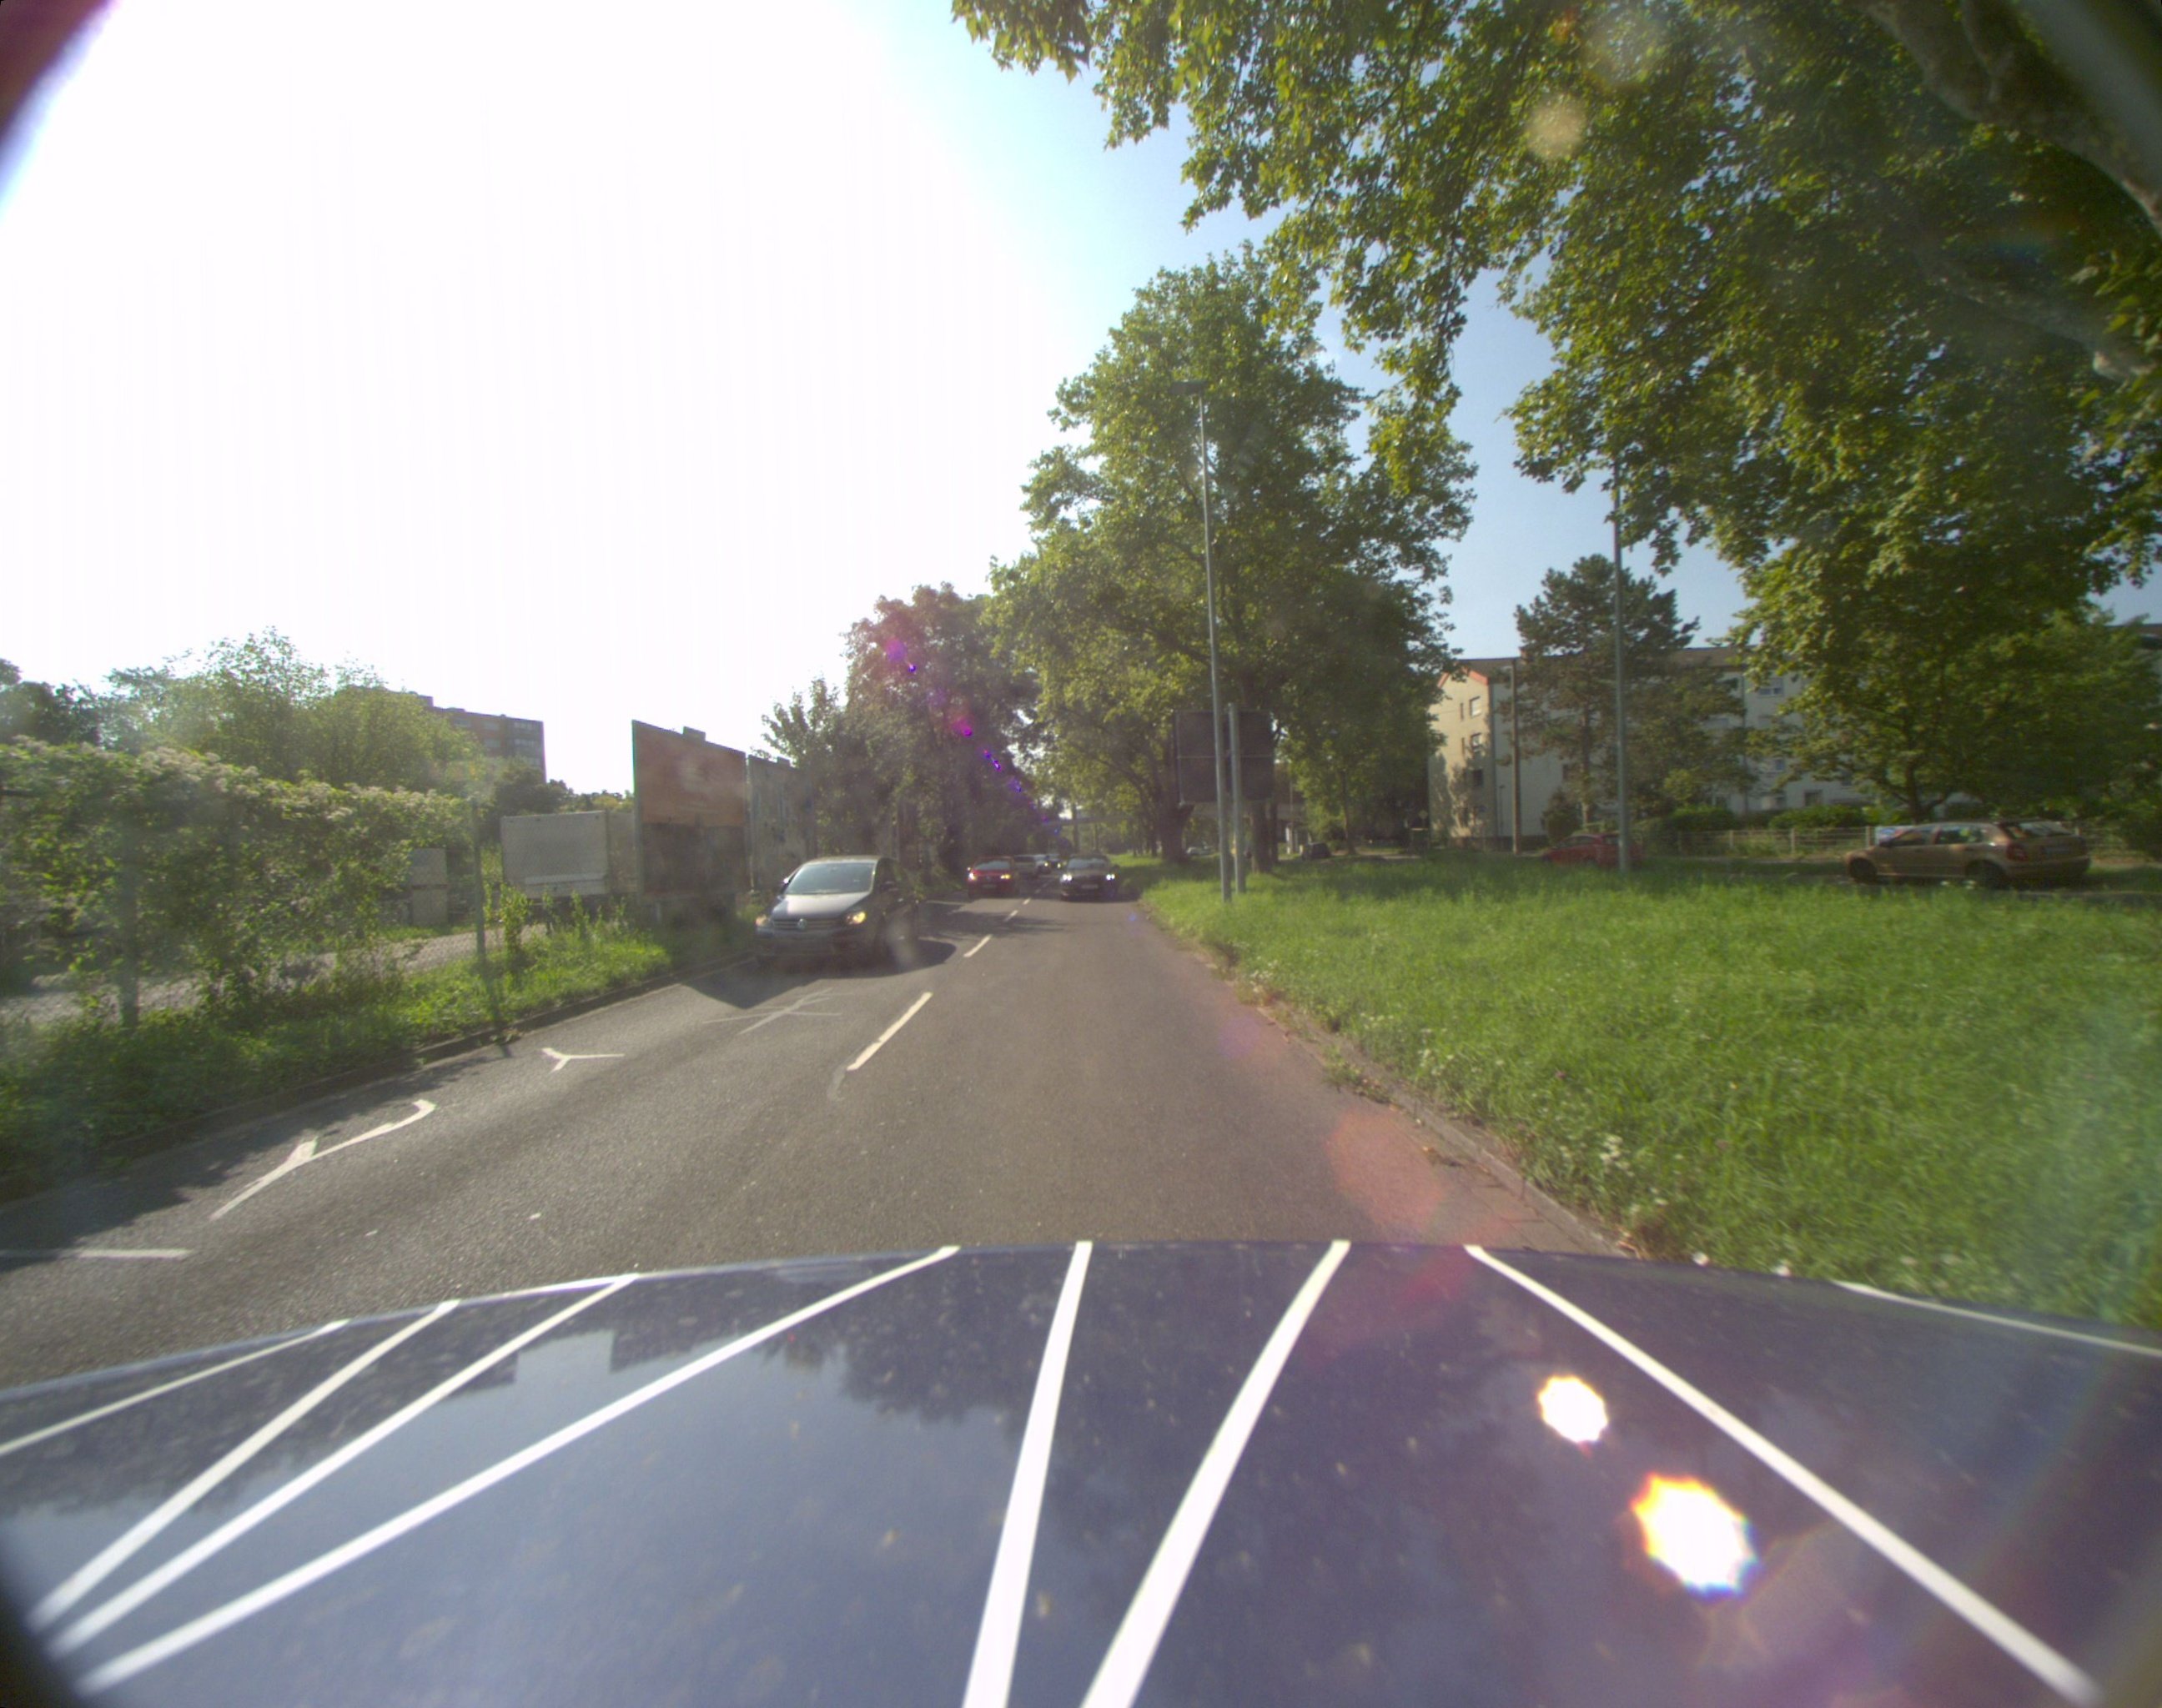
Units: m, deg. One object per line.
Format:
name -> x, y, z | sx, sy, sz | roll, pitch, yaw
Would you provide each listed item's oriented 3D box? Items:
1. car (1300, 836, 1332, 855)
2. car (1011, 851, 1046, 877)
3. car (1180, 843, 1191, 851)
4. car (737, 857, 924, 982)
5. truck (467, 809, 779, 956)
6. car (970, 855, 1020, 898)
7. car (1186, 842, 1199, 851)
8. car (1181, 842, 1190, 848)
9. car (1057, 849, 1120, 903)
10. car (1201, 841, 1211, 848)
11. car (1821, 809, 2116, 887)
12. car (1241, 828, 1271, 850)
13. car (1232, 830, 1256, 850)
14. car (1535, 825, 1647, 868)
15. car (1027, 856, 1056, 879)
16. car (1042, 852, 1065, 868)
car -> 19.846, -0.717, 64.300 | 1.526, 1.524, 3.863 | -2, 1, 0
car -> -3.267, 0.599, 48.288 | 1.649, 1.467, 3.899 | -3, 1, 4
car -> 22.318, -1.454, 162.208 | 1.695, 1.524, 4.069 | -3, 1, 0
car -> -3.747, 0.880, 12.118 | 1.649, 1.548, 3.898 | -2, 1, 0
truck -> -8.556, 0.391, 15.380 | 1.919, 2.220, 6.912 | -3, 1, 1
car -> -3.135, 0.799, 28.246 | 1.579, 1.391, 3.470 | -2, 1, -3
car -> 20.700, -1.403, 141.068 | 1.806, 1.710, 4.719 | -2, 0, 1
car -> 27.324, -2.340, 198.919 | 1.791, 1.524, 4.456 | -3, 1, 4
car -> 0.189, 0.656, 24.960 | 1.863, 1.572, 3.611 | -2, 1, -1
car -> 26.259, -2.006, 159.193 | 1.649, 1.471, 3.899 | -3, 1, 5
car -> 19.319, -0.133, 16.872 | 1.806, 1.422, 4.064 | -3, 0, 1
car -> 20.858, -1.796, 91.073 | 2.213, 2.416, 6.265 | -5, 1, 3
car -> 21.205, -1.843, 98.977 | 2.212, 2.465, 6.061 | -3, 1, 5
car -> 19.128, -0.294, 28.740 | 1.542, 1.443, 4.064 | -3, 1, 1
car -> -2.983, 1.004, 58.029 | 1.649, 1.467, 3.899 | -3, 1, 5
car -> -2.631, 0.599, 73.783 | 1.649, 1.378, 3.899 | -3, 1, 5
